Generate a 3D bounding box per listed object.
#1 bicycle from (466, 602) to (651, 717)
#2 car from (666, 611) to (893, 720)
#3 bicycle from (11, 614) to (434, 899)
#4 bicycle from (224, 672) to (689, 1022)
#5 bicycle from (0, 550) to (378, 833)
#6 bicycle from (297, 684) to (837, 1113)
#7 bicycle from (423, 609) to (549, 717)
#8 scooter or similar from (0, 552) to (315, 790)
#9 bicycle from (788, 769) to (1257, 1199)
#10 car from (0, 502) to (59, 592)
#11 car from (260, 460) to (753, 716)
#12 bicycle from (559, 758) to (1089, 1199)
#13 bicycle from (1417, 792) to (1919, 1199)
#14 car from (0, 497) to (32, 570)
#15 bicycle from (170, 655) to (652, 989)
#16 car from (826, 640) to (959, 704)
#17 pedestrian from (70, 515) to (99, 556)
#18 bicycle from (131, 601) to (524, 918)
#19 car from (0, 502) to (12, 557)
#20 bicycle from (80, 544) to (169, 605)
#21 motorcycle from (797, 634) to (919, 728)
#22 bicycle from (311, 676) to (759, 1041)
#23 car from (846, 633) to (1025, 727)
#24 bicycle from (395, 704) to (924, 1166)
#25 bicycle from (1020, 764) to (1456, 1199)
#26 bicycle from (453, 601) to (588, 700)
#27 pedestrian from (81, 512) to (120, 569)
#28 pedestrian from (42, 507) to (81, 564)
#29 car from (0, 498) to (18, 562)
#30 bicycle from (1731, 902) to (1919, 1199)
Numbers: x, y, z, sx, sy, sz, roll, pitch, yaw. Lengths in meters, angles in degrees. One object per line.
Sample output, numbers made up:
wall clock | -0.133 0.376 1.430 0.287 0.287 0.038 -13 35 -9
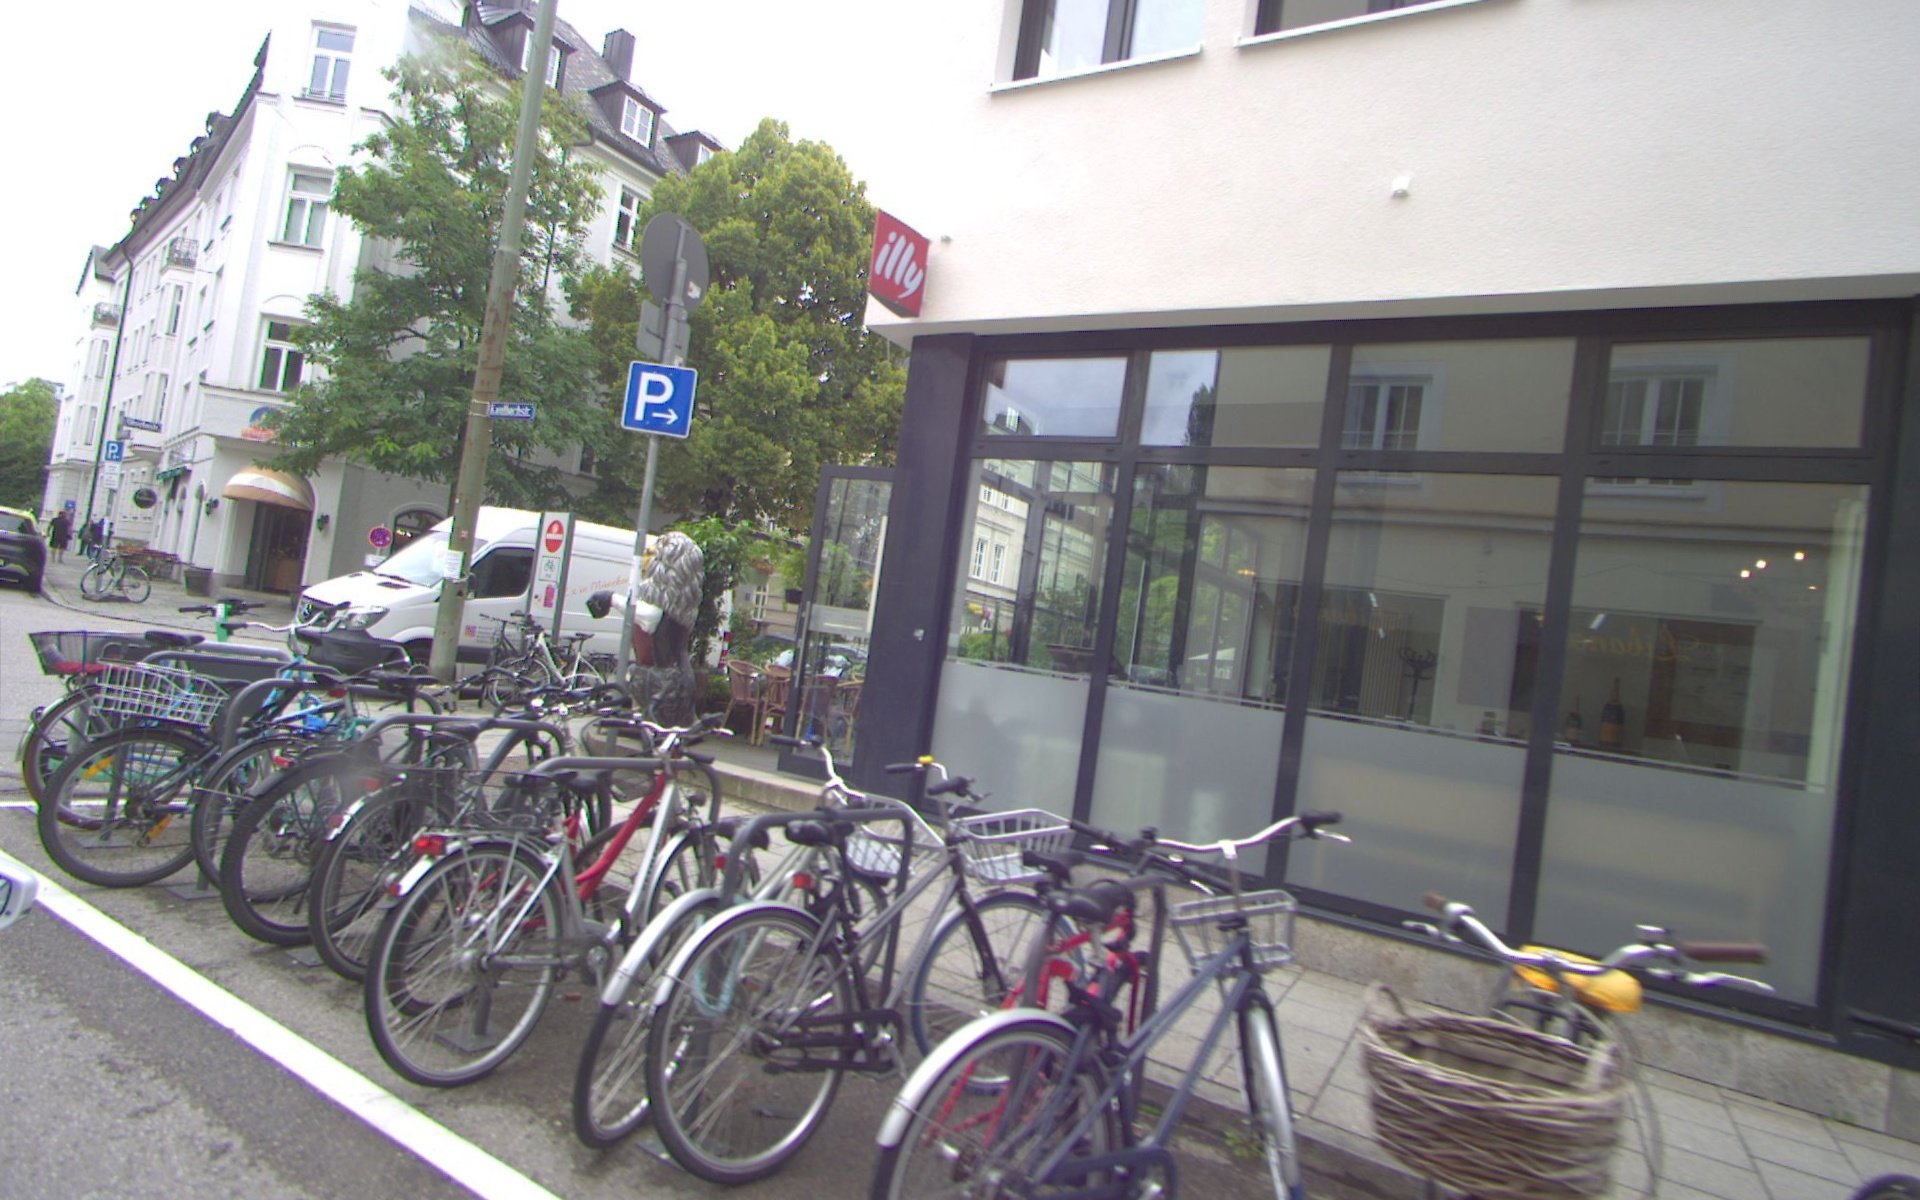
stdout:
bicycle | -4.734 0.746 12.004 0.583 1.139 1.904 7 -3 35
car | -3.241 1.286 18.840 1.766 1.463 3.996 9 -2 33
bicycle | -3.367 0.707 4.762 0.455 1.081 1.457 7 -3 23
bicycle | -1.892 0.905 4.092 0.330 1.091 1.680 8 -2 27
bicycle | -4.101 0.517 5.438 0.438 1.299 1.461 7 -3 32
bicycle | -1.218 0.919 3.632 0.401 1.091 1.880 8 -2 27
bicycle | -5.554 0.756 11.834 0.334 1.140 1.179 7 -3 37
scooter or similar | -4.717 0.449 5.930 0.411 1.223 1.356 7 -3 32
bicycle | 0.313 1.072 2.680 0.432 1.107 1.880 8 -2 27
car | -20.778 -1.281 21.506 4.234 1.652 1.819 5 -6 45
car | -6.008 0.057 14.320 2.027 2.619 5.903 8 -3 36
bicycle | -0.236 1.085 3.119 0.554 1.063 1.880 6 -4 27
bicycle | 1.316 1.126 2.111 0.570 1.218 1.879 7 -2 29
car | -27.971 -2.065 28.667 4.234 1.889 1.819 5 -6 45
bicycle | -2.210 0.873 4.351 0.444 1.091 1.746 8 -2 28
car | -1.970 2.223 30.582 1.784 1.453 4.051 4 -5 35
pedestrian | -42.265 -3.111 48.585 0.775 1.871 0.850 10 -2 -38
bicycle | -2.861 0.716 4.740 0.388 1.220 1.457 7 -3 23
car | -35.237 -2.714 35.755 1.990 1.876 4.292 11 -4 -43
bicycle | -16.894 -0.510 20.335 1.723 1.011 0.540 7 1 21
motorcycle | -1.723 1.426 17.410 0.648 1.400 2.174 7 -3 37
bicycle | -1.530 0.910 3.957 0.371 1.091 1.618 8 -2 27
car | -0.446 1.896 23.182 1.783 1.585 4.247 8 -3 35
bicycle | -0.831 0.956 3.441 0.395 1.091 1.880 8 -2 27
bicycle | 0.795 1.070 2.439 0.556 1.183 1.899 7 -2 28
bicycle | -5.494 0.666 12.656 0.364 1.083 1.507 7 -3 30
pedestrian | -30.835 -2.137 36.092 0.777 1.871 1.010 10 -3 -45
pedestrian | -31.825 -2.289 35.626 0.777 1.871 1.010 10 -3 -45
car | -31.964 -2.461 32.511 4.130 1.942 1.819 5 -6 45
bicycle | 1.947 1.306 1.796 0.555 1.169 1.881 8 -4 29
